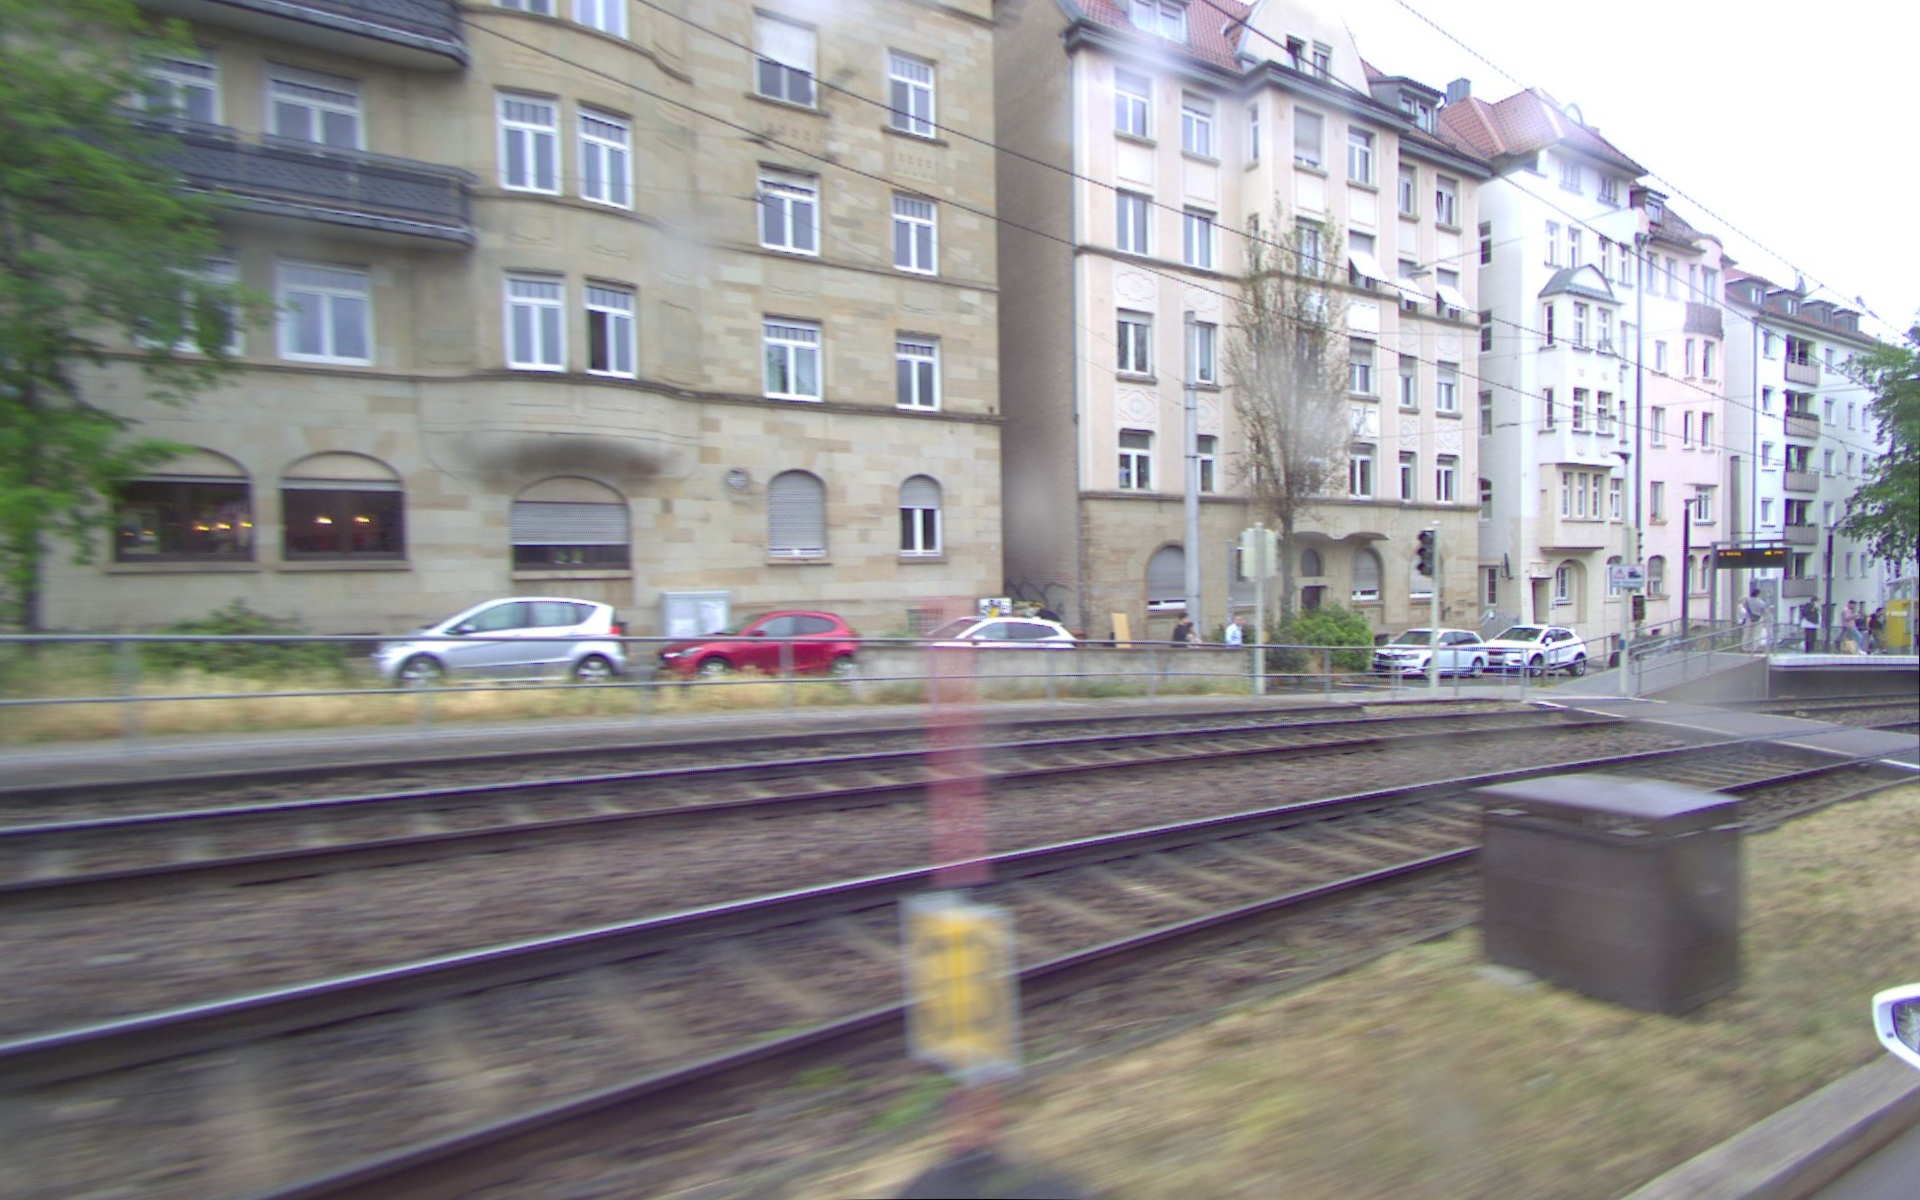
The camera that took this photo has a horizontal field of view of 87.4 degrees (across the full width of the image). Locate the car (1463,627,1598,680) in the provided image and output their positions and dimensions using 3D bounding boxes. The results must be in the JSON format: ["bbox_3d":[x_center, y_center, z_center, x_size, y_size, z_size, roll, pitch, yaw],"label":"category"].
[{"bbox_3d":[18.814,1.730,33.116,4.483,1.643,1.914,1,-3,-31],"label":"car"}]

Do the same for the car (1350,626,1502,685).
[{"bbox_3d":[14.055,1.672,30.228,4.482,1.553,1.983,3,0,-32],"label":"car"}]

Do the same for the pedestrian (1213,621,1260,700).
[{"bbox_3d":[6.136,1.328,22.307,0.720,1.722,0.716,1,-1,-31],"label":"pedestrian"}]

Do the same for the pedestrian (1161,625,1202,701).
[{"bbox_3d":[4.800,1.346,21.795,0.613,1.614,0.622,1,-1,-30],"label":"pedestrian"}]

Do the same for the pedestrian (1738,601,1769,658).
[{"bbox_3d":[23.024,0.870,29.159,0.557,1.626,0.513,2,-3,-32],"label":"pedestrian"}]

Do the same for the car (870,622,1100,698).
[{"bbox_3d":[0.600,1.237,21.470,4.816,1.461,1.707,2,-2,-33],"label":"car"}]

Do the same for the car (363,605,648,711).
[{"bbox_3d":[-7.474,0.917,16.643,4.128,1.567,1.622,2,-2,-32],"label":"car"}]

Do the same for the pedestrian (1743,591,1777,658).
[{"bbox_3d":[22.731,0.712,28.551,0.592,1.874,0.558,2,-3,-32],"label":"pedestrian"}]

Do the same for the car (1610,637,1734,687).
[{"bbox_3d":[26.491,2.312,37.345,4.757,1.754,1.985,3,-3,-30],"label":"car"}]

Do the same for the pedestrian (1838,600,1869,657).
[{"bbox_3d":[29.597,0.954,33.271,0.754,1.862,0.513,2,-3,-32],"label":"pedestrian"}]

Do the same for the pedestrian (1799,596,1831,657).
[{"bbox_3d":[26.672,0.841,31.347,0.754,1.862,0.513,2,-3,-32],"label":"pedestrian"}]

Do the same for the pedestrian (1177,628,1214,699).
[{"bbox_3d":[5.291,1.419,22.569,0.613,1.552,0.517,1,-1,-31],"label":"pedestrian"}]

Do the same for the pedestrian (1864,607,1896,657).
[{"bbox_3d":[31.712,1.120,34.615,0.754,1.687,0.591,2,-3,-32],"label":"pedestrian"}]

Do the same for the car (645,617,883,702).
[{"bbox_3d":[-3.678,1.093,19.091,4.128,1.461,1.622,2,-2,-32],"label":"car"}]
